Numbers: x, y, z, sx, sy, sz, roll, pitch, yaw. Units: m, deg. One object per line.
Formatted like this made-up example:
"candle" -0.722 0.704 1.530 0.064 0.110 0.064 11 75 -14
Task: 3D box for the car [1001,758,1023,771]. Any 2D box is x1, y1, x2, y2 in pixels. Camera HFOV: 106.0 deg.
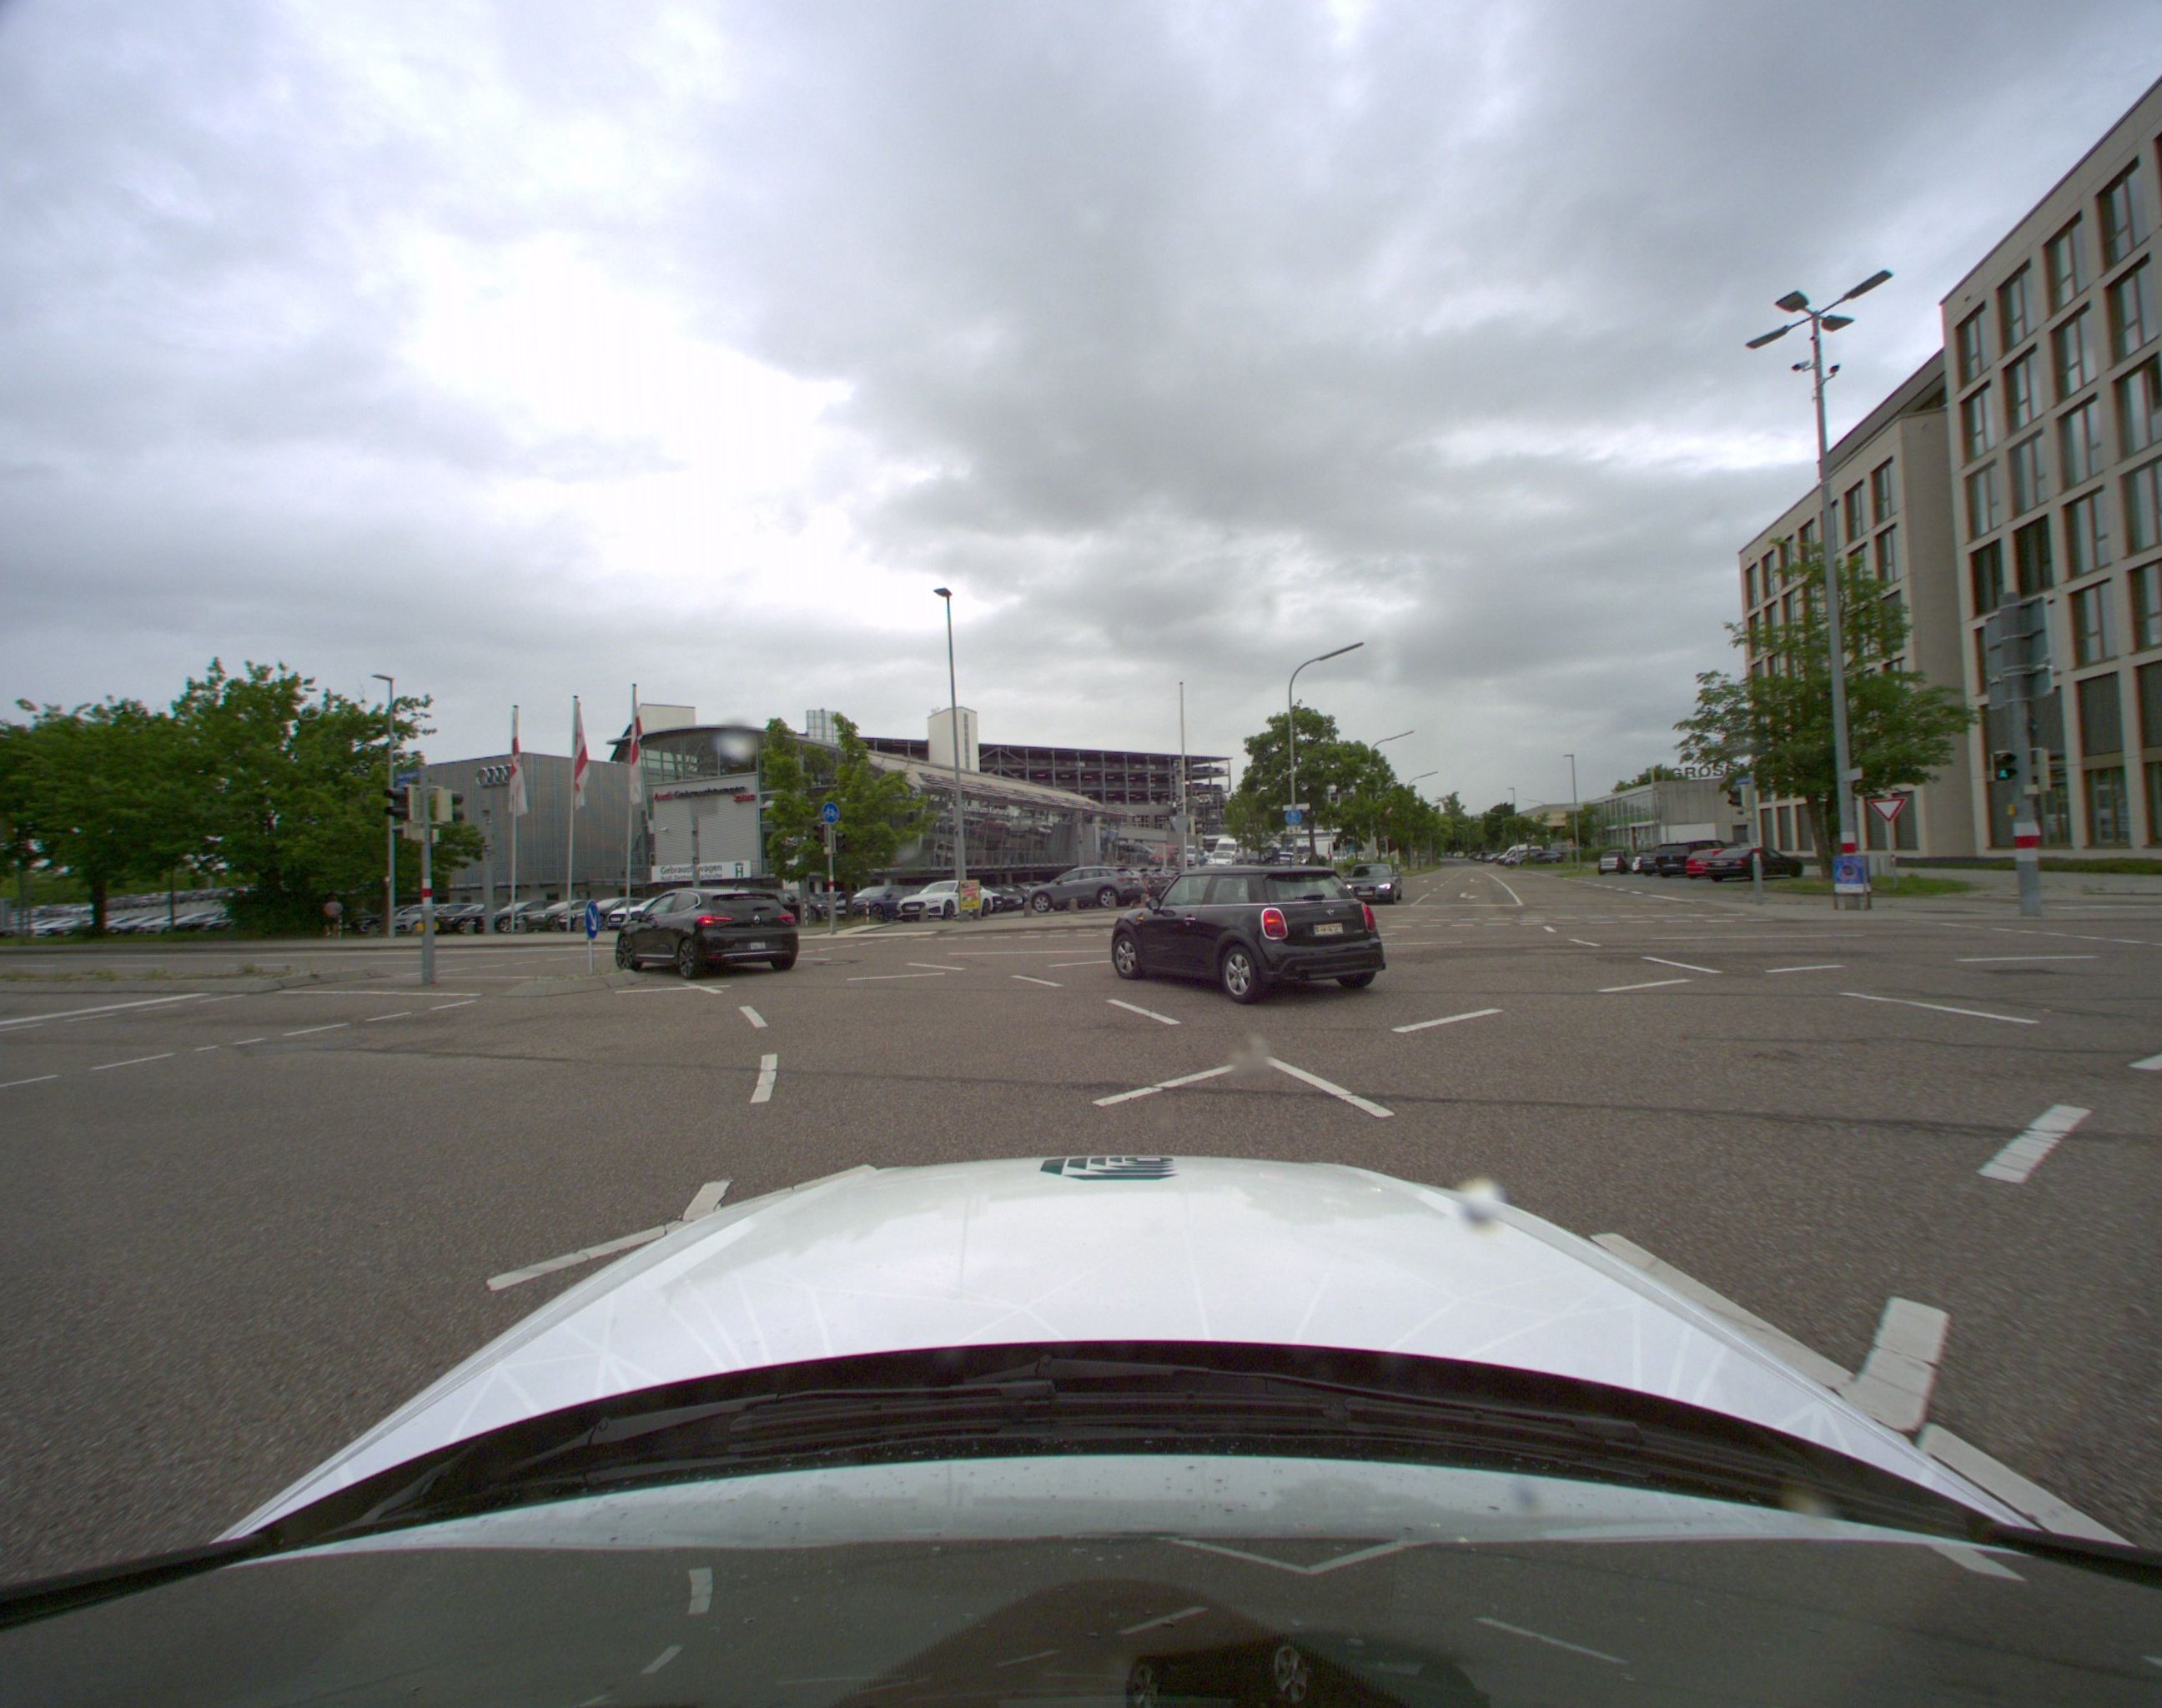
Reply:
"car" -11.649 -15.050 137.137 2.008 1.667 3.958 -1 -1 -34

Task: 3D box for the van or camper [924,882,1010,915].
"van or camper" -6.007 2.342 43.044 3.953 1.677 2.010 -1 -2 20

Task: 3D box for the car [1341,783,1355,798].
"car" 43.276 -10.280 132.027 1.977 1.883 4.020 -3 -2 20

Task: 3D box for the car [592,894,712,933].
"car" -17.424 2.414 33.302 1.854 1.486 4.064 -3 -4 21

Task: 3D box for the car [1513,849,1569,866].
"car" 50.517 0.450 89.514 5.128 1.720 2.155 -1 -2 22

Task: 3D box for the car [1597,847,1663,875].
"car" 35.335 0.473 52.458 3.431 1.732 1.756 0 -2 -17

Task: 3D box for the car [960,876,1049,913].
"car" -4.527 2.380 48.139 4.760 1.940 2.011 -3 -2 22

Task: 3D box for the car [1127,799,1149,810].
"car" 10.544 -9.167 151.511 2.008 1.667 3.958 -1 -1 -34

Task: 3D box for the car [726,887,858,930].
"car" -11.247 2.140 31.704 4.698 1.486 1.902 -3 -5 21

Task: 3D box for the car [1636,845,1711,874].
"car" 33.653 0.323 46.251 3.821 1.511 1.684 -1 -2 -23

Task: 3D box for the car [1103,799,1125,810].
"car" 6.019 -8.957 148.429 2.008 1.667 3.958 -1 -1 -34

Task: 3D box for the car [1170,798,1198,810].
"car" 20.206 -9.841 160.024 2.221 1.945 5.271 -1 -1 -37

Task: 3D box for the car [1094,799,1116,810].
"car" 4.282 -8.968 147.042 2.008 1.667 3.958 -1 -1 -34

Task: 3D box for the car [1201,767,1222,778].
"car" 26.160 -16.322 162.953 2.008 1.667 3.958 -1 -1 -34

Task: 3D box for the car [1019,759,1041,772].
"car" -8.614 -15.053 138.493 2.008 1.667 3.958 -1 -1 -34

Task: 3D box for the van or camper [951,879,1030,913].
"van or camper" -5.025 2.343 45.429 3.953 1.816 1.856 -1 -2 20

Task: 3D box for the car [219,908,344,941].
"car" -42.852 3.803 43.780 1.854 1.603 4.270 -1 -7 21

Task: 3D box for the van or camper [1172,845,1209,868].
"van or camper" 8.623 0.226 63.940 1.976 1.651 4.020 -1 -2 21

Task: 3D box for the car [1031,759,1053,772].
"car" -6.757 -15.251 140.060 2.008 1.667 3.958 -1 -1 -34

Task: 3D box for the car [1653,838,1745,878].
"car" 32.593 0.215 42.973 4.251 1.966 1.984 -1 -2 -24

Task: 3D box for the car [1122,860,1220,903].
"car" 4.941 1.522 44.773 4.852 2.014 2.010 -5 -3 20

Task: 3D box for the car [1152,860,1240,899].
"car" 7.058 1.600 49.942 4.852 2.014 2.010 -5 -3 20

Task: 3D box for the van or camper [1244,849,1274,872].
"van or camper" 16.016 0.614 73.110 1.976 2.014 4.020 -1 -2 21

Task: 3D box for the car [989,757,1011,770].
"car" -13.573 -15.065 135.609 2.008 1.667 3.958 -1 -1 -34

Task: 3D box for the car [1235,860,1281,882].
"car" 16.867 1.639 77.388 3.952 2.014 2.010 -1 -2 22

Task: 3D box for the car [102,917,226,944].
"car" -52.877 4.419 47.077 1.953 1.487 4.215 -1 -6 22

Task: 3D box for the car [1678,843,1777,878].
"car" 31.647 0.309 39.866 4.135 1.551 1.875 -1 -2 -21

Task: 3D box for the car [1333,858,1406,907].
"car" 10.562 0.989 29.606 1.960 1.551 4.640 -3 -1 25

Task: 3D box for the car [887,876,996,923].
"car" -4.902 1.626 29.240 1.852 1.486 4.251 -4 -4 22

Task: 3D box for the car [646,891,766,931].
"car" -14.928 2.275 32.679 1.830 1.486 4.219 -3 -4 22

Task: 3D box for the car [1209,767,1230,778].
"car" 27.974 -16.360 164.276 2.008 1.667 3.958 -1 -1 -34

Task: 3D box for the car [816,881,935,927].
"car" -7.511 1.860 30.215 2.046 1.486 4.538 -4 -5 19

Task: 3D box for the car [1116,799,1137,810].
"car" 8.403 -9.177 150.216 2.008 1.667 3.958 -1 -1 -34

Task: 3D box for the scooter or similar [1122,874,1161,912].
"scooter or similar" 2.118 1.333 28.175 0.551 1.219 1.570 0 0 38

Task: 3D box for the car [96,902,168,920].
"car" -90.824 5.442 78.022 1.710 1.436 4.119 -1 -2 20

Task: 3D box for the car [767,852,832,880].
"car" -17.912 0.785 52.035 1.804 1.662 4.019 -1 -2 20

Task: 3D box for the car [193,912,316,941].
"car" -45.298 4.014 44.783 1.804 1.487 4.240 -1 -7 21

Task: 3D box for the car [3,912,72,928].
"car" -109.220 6.877 85.304 1.710 1.436 4.119 -1 -2 20

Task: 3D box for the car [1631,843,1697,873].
"car" 36.043 0.276 50.365 3.431 1.798 1.581 0 -2 -17

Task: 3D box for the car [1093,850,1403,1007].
"car" 1.760 0.806 9.772 1.795 1.416 3.613 -3 -2 -25

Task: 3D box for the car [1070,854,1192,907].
"car" 2.306 1.224 37.205 4.980 2.014 2.277 -5 -3 20

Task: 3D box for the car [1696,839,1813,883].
"car" 29.676 0.319 35.914 4.127 1.768 1.879 -1 -2 -15

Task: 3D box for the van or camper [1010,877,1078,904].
"van or camper" -2.402 2.378 53.012 3.953 1.712 1.856 -1 -2 20

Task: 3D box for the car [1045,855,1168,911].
"car" 1.078 1.230 34.440 4.661 2.014 2.010 -5 -3 20

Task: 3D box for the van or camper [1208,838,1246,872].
"van or camper" 13.360 0.134 74.375 2.514 3.027 4.868 -1 -2 21

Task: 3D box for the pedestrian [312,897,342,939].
"pedestrian" -34.085 2.897 36.821 0.665 1.871 0.723 -3 -4 21

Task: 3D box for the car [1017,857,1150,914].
"car" 0.108 1.259 32.042 4.732 1.863 2.010 -5 -3 20

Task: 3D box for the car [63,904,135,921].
"car" -97.895 5.805 81.232 1.710 1.436 4.233 -1 -2 20

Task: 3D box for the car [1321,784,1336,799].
"car" 40.479 -10.203 133.081 1.977 1.883 4.020 -3 -2 20

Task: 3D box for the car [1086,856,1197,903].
"car" 2.968 1.265 39.642 4.906 1.876 2.063 -5 -3 18

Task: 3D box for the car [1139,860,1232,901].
"car" 6.068 1.541 47.265 4.852 2.014 2.010 -5 -3 20

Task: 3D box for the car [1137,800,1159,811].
"car" 12.574 -9.073 153.274 2.008 1.667 3.958 -1 -1 -34

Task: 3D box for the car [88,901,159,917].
"car" -93.162 5.337 79.327 1.710 1.436 4.119 -1 -2 20

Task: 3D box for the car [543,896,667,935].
"car" -19.946 2.567 34.349 1.849 1.486 4.253 -3 -4 22
